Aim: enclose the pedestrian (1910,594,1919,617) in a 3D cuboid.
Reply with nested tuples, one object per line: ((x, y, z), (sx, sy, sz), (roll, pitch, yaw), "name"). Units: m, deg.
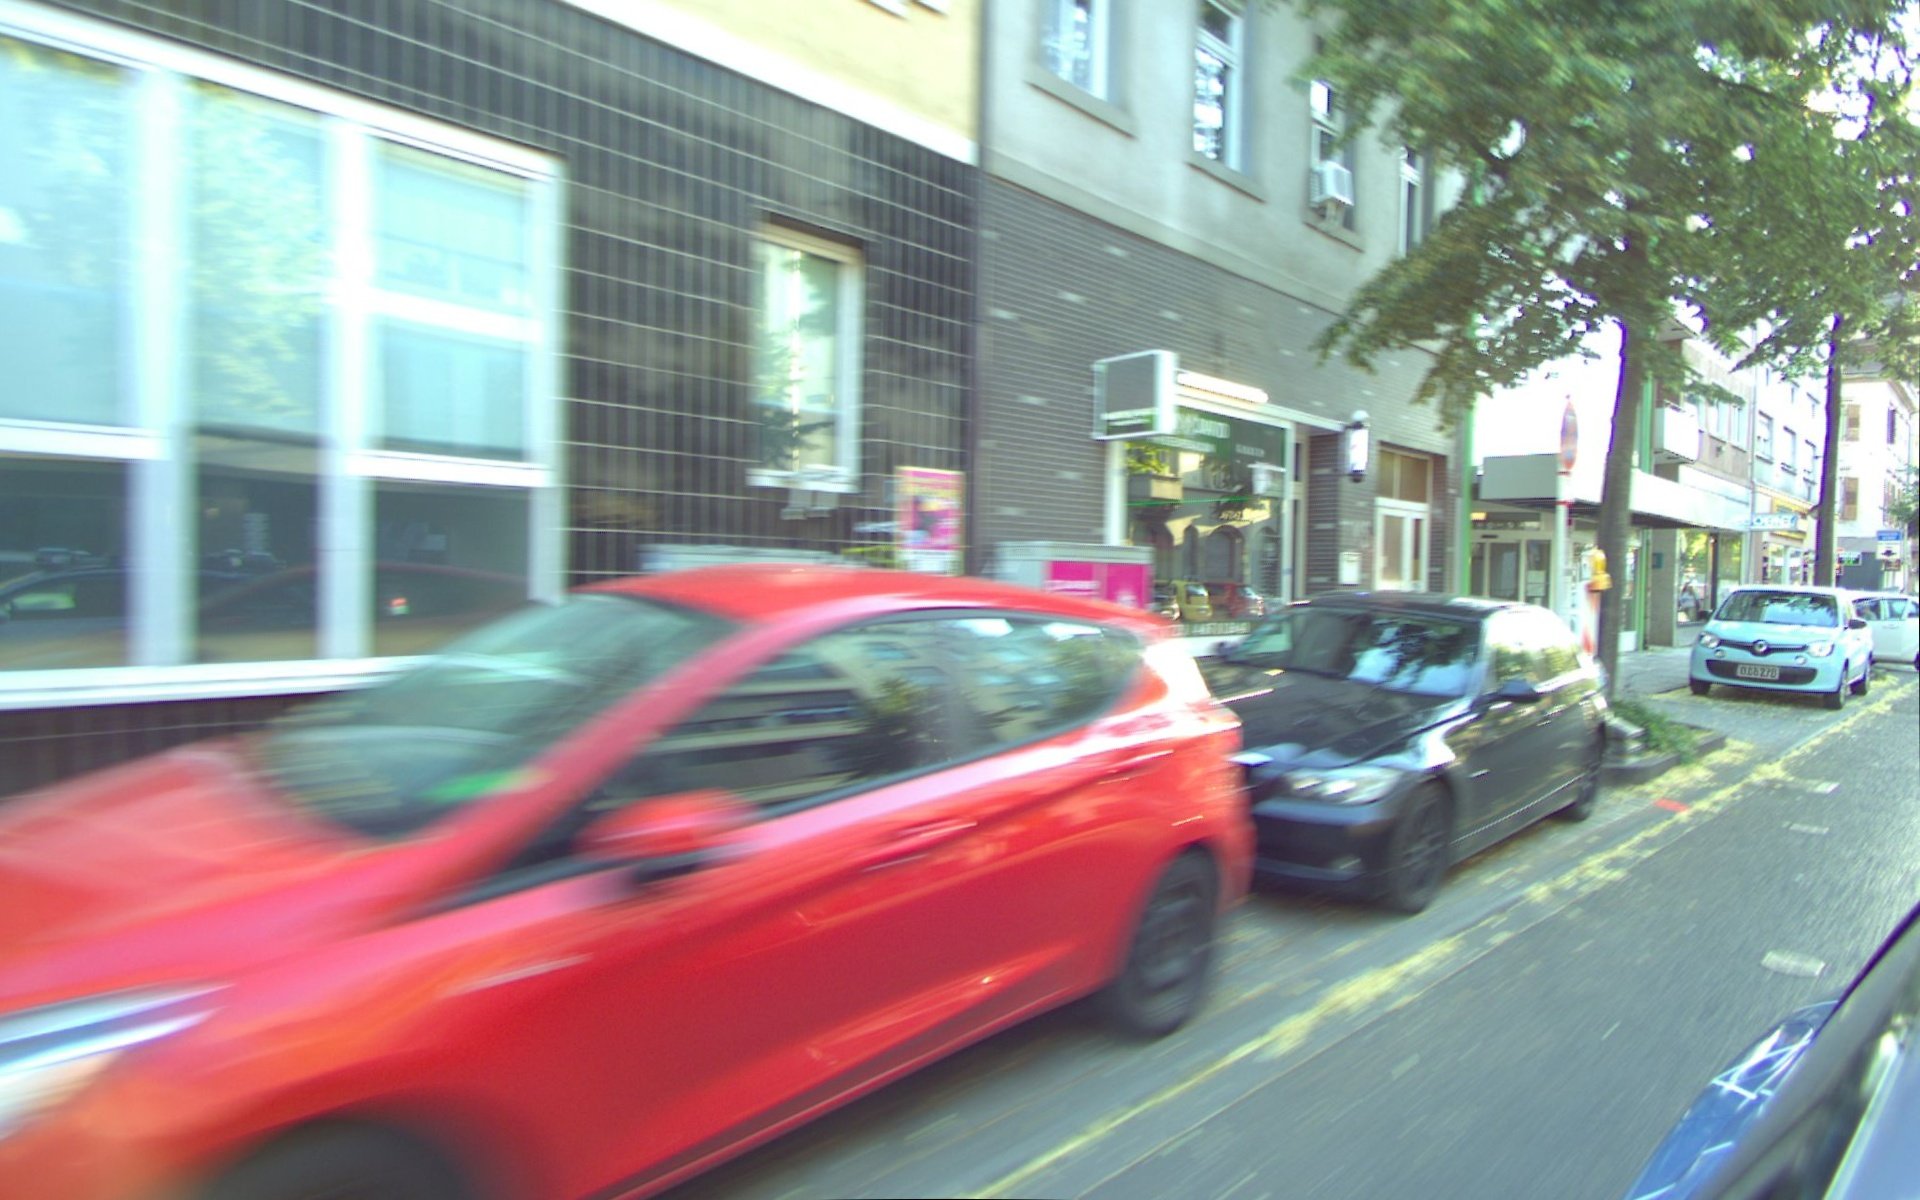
((47.634, 0.282, 50.269), (0.636, 1.149, 0.551), (0, 3, -41), "pedestrian")

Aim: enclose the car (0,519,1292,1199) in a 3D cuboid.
((-0.828, 0.604, 2.849), (3.836, 1.505, 1.731), (0, 4, -45), "car")

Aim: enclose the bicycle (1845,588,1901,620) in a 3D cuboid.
((41.297, 0.168, 45.796), (1.823, 1.360, 0.400), (2, 1, 42), "bicycle")

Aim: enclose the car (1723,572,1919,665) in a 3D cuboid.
((17.564, 0.355, 20.008), (3.555, 1.603, 1.666), (3, 2, 0), "car")

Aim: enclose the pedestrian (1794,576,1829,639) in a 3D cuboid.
((22.659, 0.192, 26.939), (0.657, 1.652, 0.607), (0, 1, -42), "pedestrian")

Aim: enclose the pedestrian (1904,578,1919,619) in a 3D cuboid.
((45.298, -0.055, 47.794), (0.741, 1.898, 0.721), (1, 3, -25), "pedestrian")

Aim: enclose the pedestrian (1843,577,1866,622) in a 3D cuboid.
((33.716, -0.034, 38.148), (0.563, 1.644, 0.493), (0, 3, -41), "pedestrian")

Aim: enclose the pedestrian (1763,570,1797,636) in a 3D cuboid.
((22.205, 0.063, 27.408), (0.657, 1.760, 0.607), (0, 1, -42), "pedestrian")

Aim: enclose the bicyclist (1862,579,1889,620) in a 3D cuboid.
((41.347, -0.037, 45.715), (0.868, 1.816, 0.529), (2, 1, 42), "bicyclist")

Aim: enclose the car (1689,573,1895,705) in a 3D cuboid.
((11.810, 0.461, 14.306), (3.492, 1.561, 1.694), (0, 4, -42), "car")

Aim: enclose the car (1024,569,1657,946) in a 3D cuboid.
((2.593, 0.591, 6.240), (4.352, 1.407, 1.954), (-1, 4, -45), "car")

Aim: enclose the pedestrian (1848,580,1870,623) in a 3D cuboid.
((34.591, 0.051, 38.944), (0.563, 1.644, 0.493), (0, 3, -41), "pedestrian")

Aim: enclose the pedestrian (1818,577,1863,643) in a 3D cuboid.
((22.837, 0.248, 26.248), (0.841, 1.652, 0.747), (0, 1, -42), "pedestrian")
